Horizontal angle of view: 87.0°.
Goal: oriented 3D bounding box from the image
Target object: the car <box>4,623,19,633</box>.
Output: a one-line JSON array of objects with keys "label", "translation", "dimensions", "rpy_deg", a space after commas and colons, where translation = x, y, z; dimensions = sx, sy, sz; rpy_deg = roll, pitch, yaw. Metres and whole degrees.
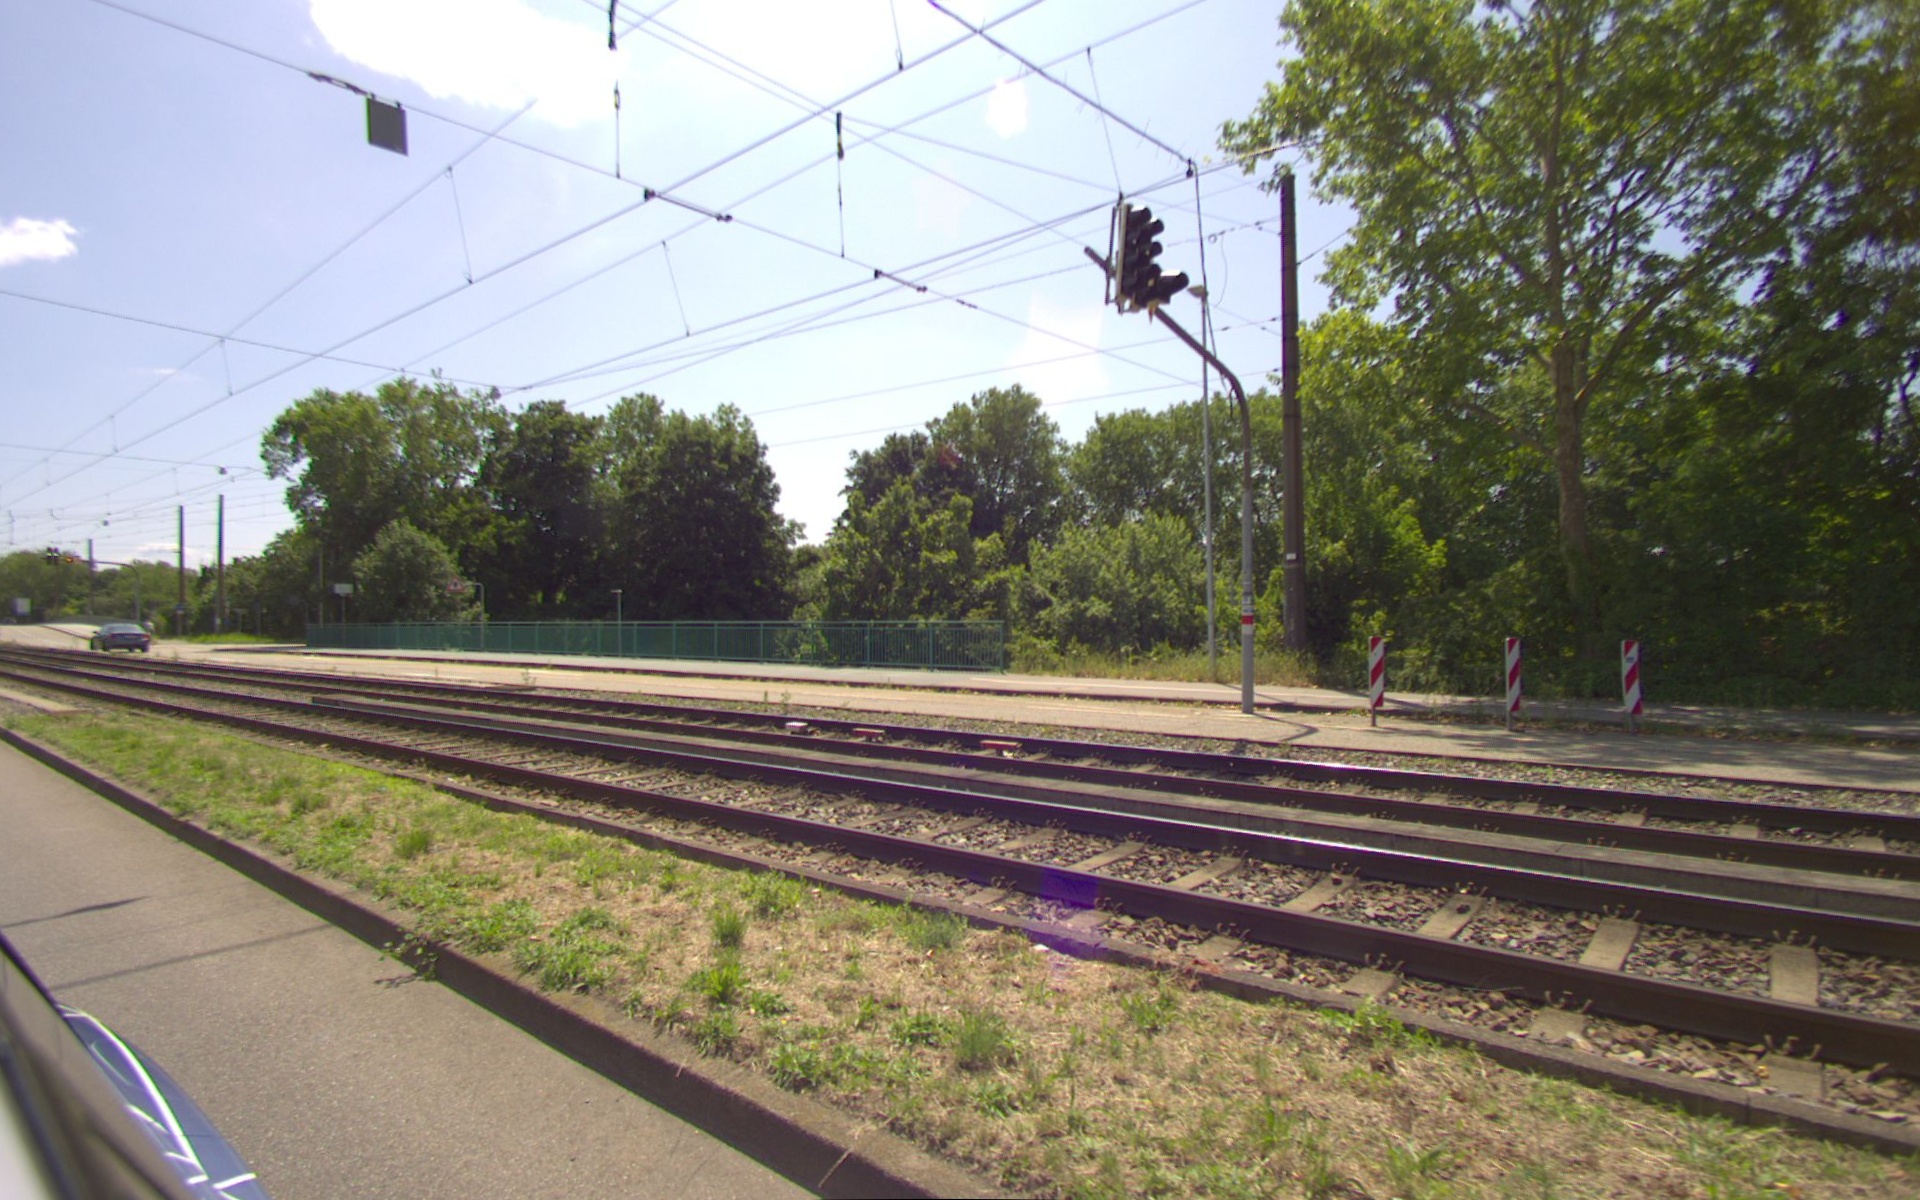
[{"label": "car", "translation": [-152.056, 4.511, 162.256], "dimensions": [1.685, 1.522, 3.735], "rpy_deg": [2, -3, -45]}]

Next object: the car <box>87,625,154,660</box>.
[{"label": "car", "translation": [-45.081, 2.251, 54.305], "dimensions": [5.327, 1.733, 1.856], "rpy_deg": [-1, -1, 40]}]
